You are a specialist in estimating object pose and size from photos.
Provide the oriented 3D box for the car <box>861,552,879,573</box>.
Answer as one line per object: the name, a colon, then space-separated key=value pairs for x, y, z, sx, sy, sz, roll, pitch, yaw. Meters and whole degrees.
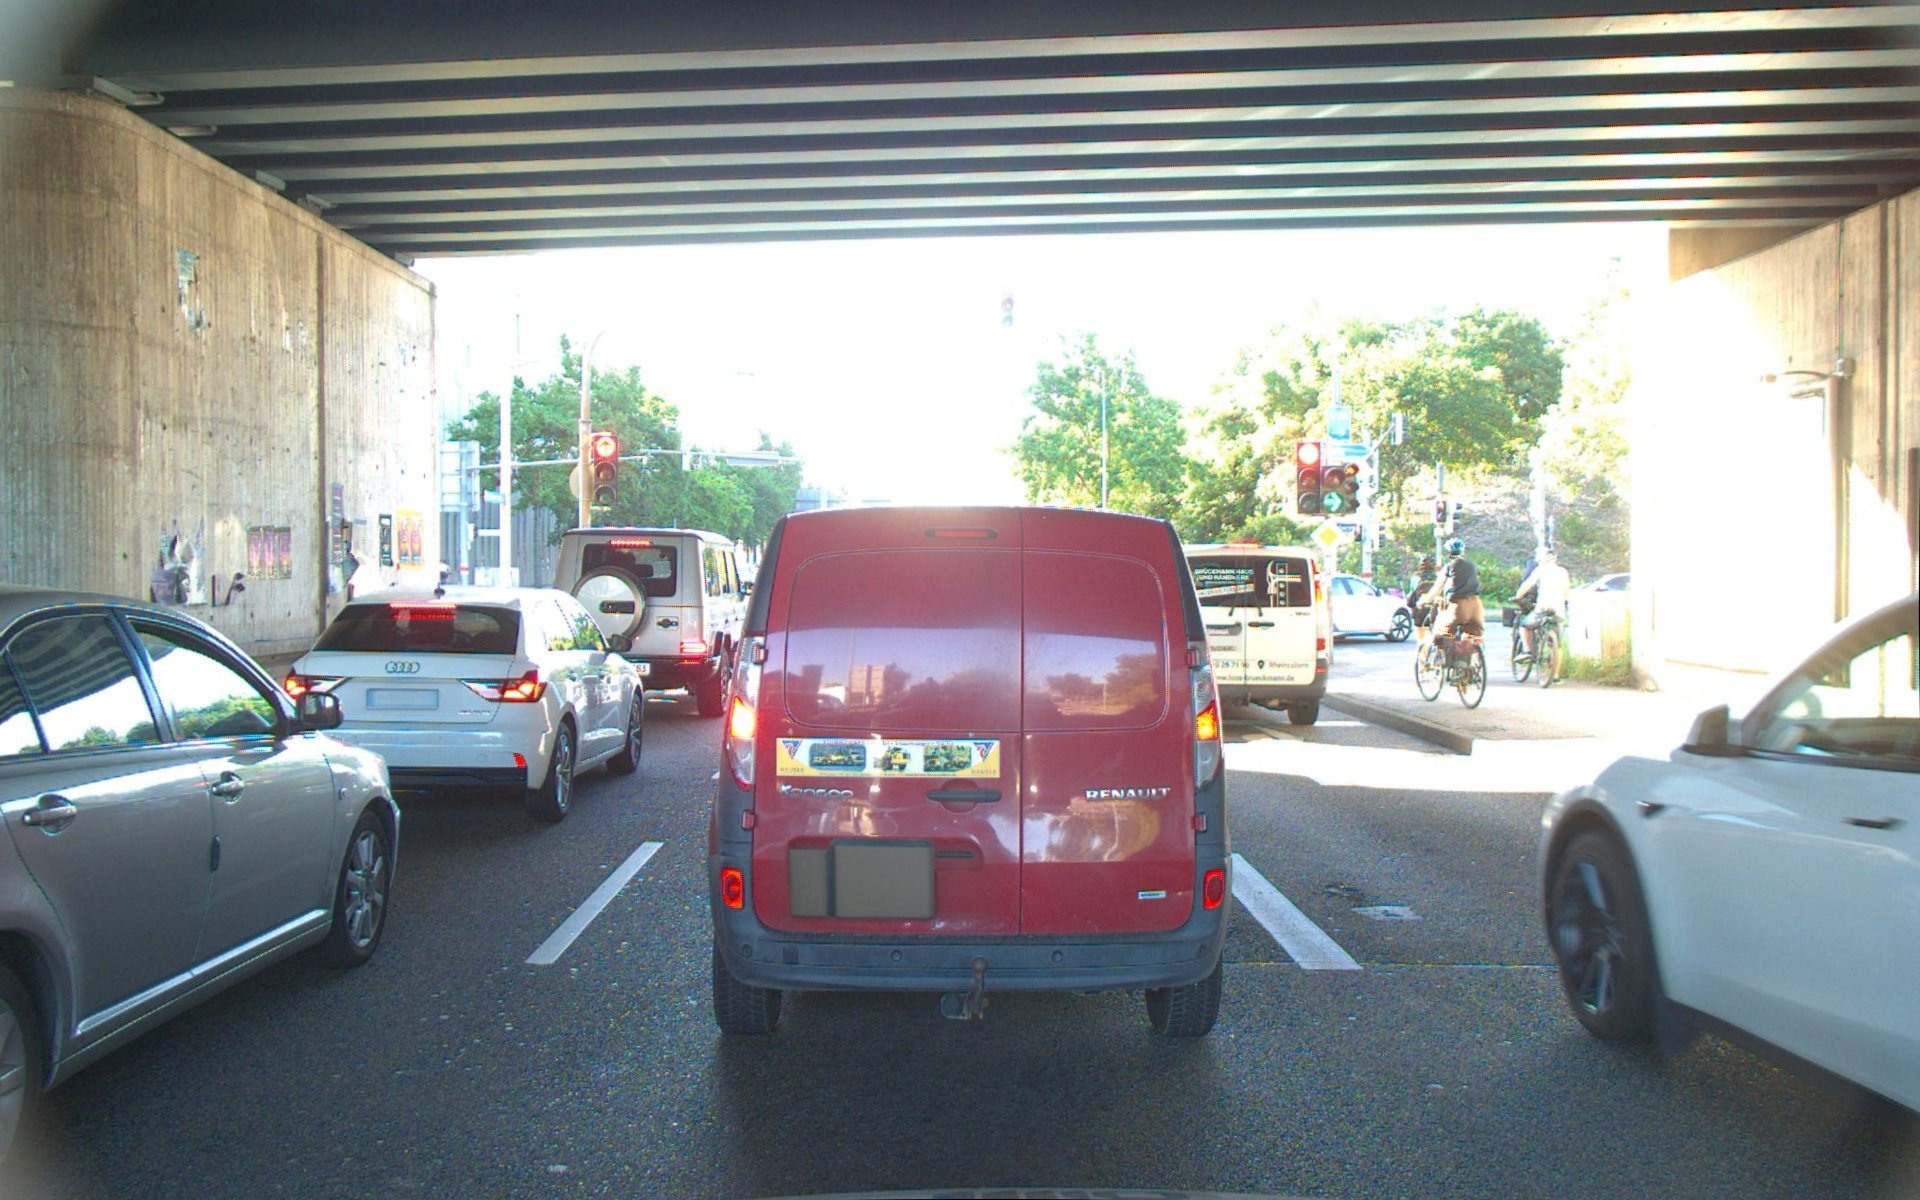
car: x=-9.414 y=-3.924 z=173.476 sx=1.712 sy=2.049 sz=3.843 roll=1 pitch=0 yaw=-1

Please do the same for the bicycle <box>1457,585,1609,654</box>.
bicycle: x=9.910 y=0.342 z=28.644 sx=2.415 sy=1.166 sz=0.766 roll=0 pitch=0 yaw=-8

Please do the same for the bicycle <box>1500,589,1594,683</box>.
bicycle: x=7.334 y=0.434 z=20.734 sx=0.667 sy=1.132 sz=1.604 roll=0 pitch=0 yaw=2

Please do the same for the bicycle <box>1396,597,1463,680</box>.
bicycle: x=6.141 y=0.491 z=21.687 sx=0.662 sy=1.042 sz=1.530 roll=1 pitch=0 yaw=10

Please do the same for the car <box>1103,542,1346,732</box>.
car: x=2.859 y=0.335 z=18.990 sx=1.859 sy=1.868 sz=4.834 roll=1 pitch=1 yaw=-2

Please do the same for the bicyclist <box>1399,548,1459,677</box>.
bicyclist: x=6.166 y=0.166 z=21.775 sx=0.663 sy=1.657 sz=0.644 roll=1 pitch=0 yaw=10

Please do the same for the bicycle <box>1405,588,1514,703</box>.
bicycle: x=5.459 y=0.473 z=18.164 sx=0.637 sy=1.188 sz=1.778 roll=0 pitch=0 yaw=0

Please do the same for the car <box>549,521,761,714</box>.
car: x=-3.343 y=0.166 z=18.798 sx=1.777 sy=1.937 sz=3.812 roll=1 pitch=0 yaw=-2

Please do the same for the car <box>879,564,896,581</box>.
car: x=-9.217 y=-3.497 z=209.615 sx=1.953 sy=2.049 sz=3.999 roll=1 pitch=0 yaw=-1

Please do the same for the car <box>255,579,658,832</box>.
car: x=-3.242 y=0.598 z=11.425 sx=1.658 sy=1.435 sz=3.812 roll=1 pitch=0 yaw=-1

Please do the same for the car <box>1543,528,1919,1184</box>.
car: x=3.289 y=0.624 z=4.083 sx=1.954 sy=1.578 sz=4.418 roll=1 pitch=0 yaw=-3

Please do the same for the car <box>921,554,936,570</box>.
car: x=-4.233 y=-5.025 z=220.618 sx=1.953 sy=2.049 sz=3.999 roll=1 pitch=0 yaw=-1

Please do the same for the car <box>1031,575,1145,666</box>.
car: x=2.200 y=0.326 z=29.244 sx=1.710 sy=1.481 sz=3.716 roll=1 pitch=0 yaw=0

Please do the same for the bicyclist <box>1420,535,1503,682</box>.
bicyclist: x=5.463 y=0.090 z=18.053 sx=0.639 sy=1.561 sz=0.847 roll=0 pitch=0 yaw=-1

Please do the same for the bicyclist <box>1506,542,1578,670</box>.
bicyclist: x=7.337 y=0.073 z=20.888 sx=0.656 sy=1.589 sz=0.735 roll=0 pitch=0 yaw=2

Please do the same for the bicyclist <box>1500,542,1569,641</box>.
bicyclist: x=9.939 y=-0.146 z=28.642 sx=0.866 sy=1.684 sz=0.748 roll=1 pitch=0 yaw=-7

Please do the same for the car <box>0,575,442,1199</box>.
car: x=-3.013 y=0.664 z=4.877 sx=1.662 sy=1.480 sz=4.397 roll=1 pitch=0 yaw=-2

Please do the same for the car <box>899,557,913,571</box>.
car: x=-8.255 y=-5.495 z=253.102 sx=1.890 sy=2.049 sz=3.913 roll=1 pitch=0 yaw=-1

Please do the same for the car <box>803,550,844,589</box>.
car: x=-7.579 y=-1.682 z=92.129 sx=1.953 sy=2.049 sz=3.999 roll=1 pitch=0 yaw=-1

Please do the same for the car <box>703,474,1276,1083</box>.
car: x=0.062 y=0.524 z=6.936 sx=1.684 sy=1.795 sz=3.999 roll=1 pitch=0 yaw=-1
